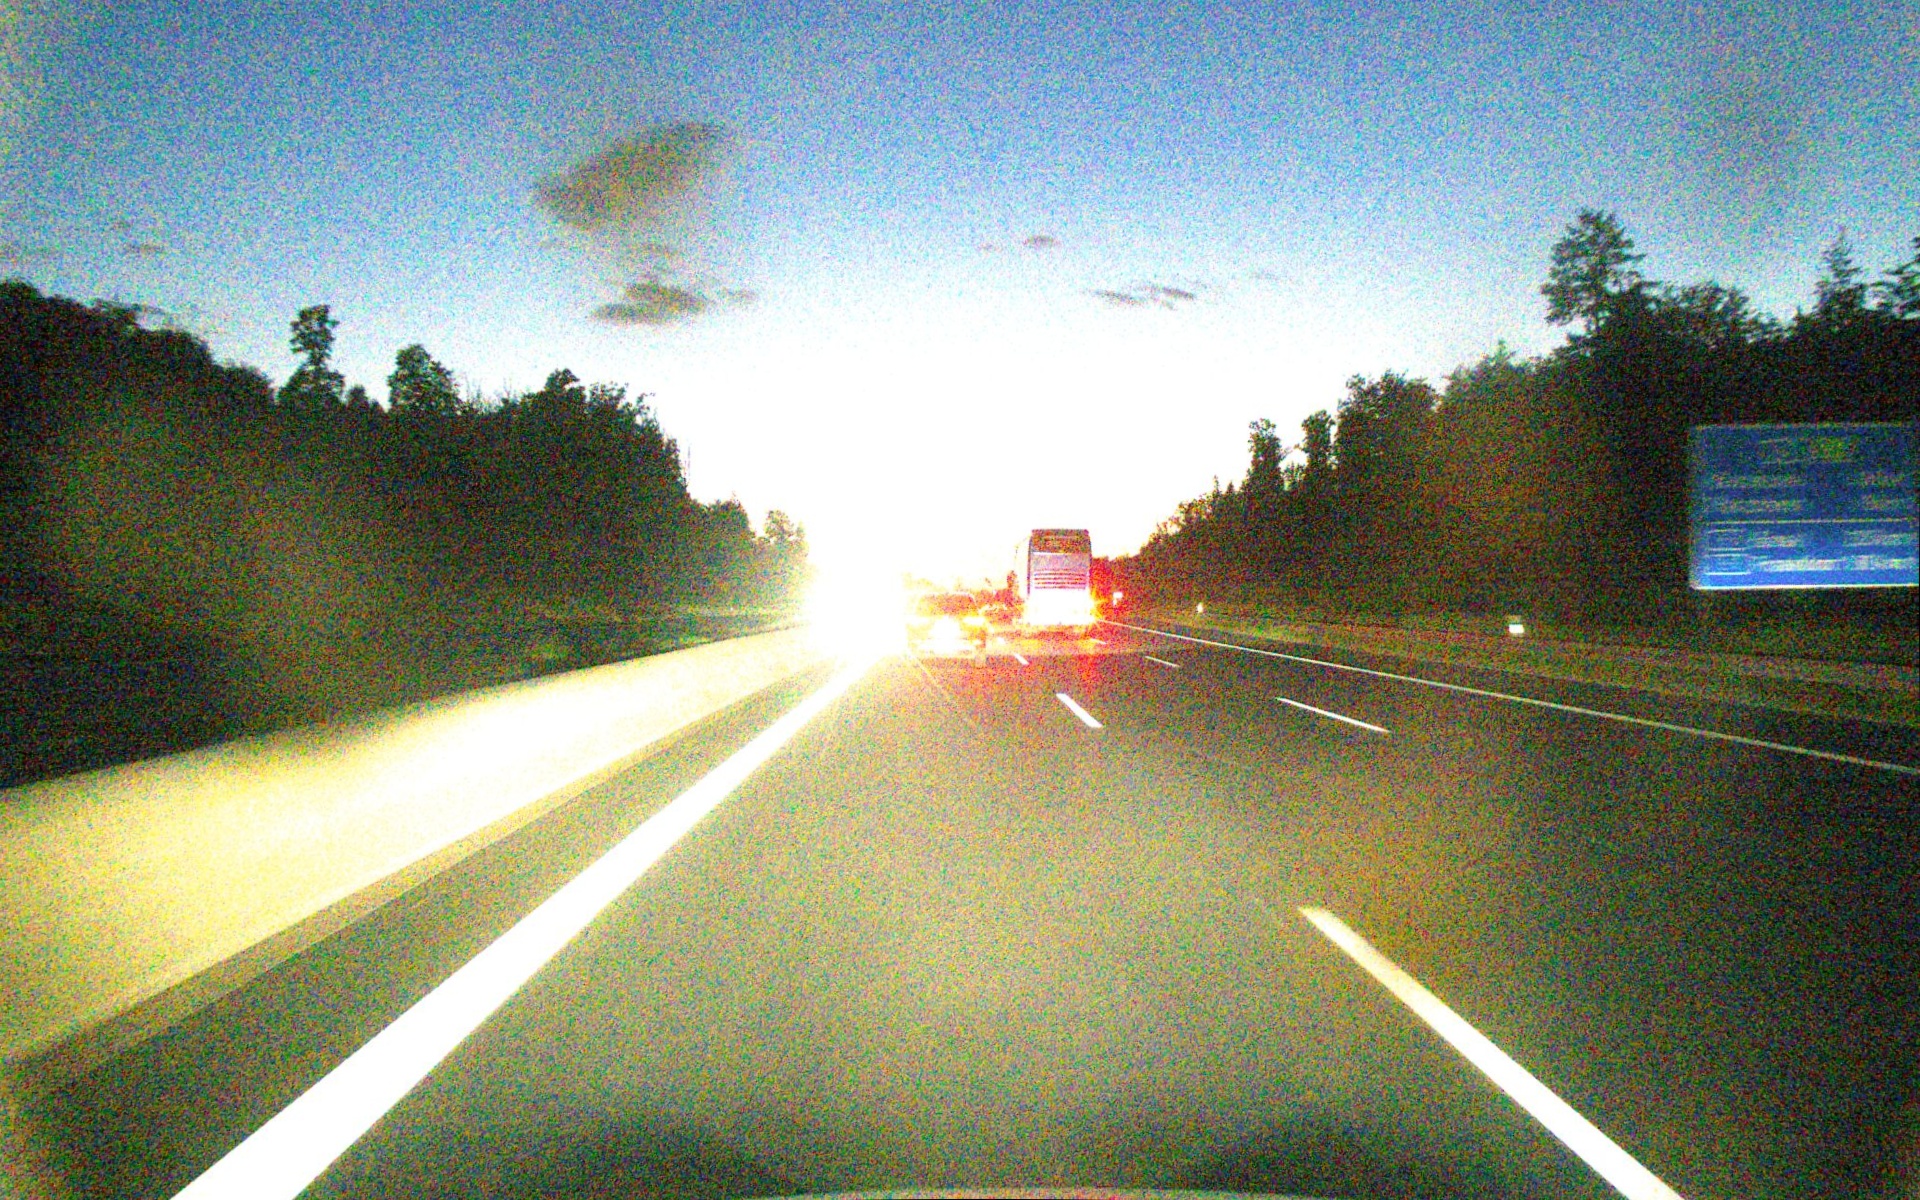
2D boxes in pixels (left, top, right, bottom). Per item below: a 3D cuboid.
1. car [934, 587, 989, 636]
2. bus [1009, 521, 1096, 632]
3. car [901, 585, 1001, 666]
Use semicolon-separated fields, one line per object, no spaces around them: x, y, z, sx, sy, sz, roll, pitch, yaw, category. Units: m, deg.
0.032;0.475;65.581;1.873;1.760;3.997;3;-1;-3;car
3.691;-0.774;69.254;2.598;4.064;14.698;-2;-1;-1;bus
-0.231;0.569;36.818;2.063;1.646;4.203;-1;-1;-1;car
